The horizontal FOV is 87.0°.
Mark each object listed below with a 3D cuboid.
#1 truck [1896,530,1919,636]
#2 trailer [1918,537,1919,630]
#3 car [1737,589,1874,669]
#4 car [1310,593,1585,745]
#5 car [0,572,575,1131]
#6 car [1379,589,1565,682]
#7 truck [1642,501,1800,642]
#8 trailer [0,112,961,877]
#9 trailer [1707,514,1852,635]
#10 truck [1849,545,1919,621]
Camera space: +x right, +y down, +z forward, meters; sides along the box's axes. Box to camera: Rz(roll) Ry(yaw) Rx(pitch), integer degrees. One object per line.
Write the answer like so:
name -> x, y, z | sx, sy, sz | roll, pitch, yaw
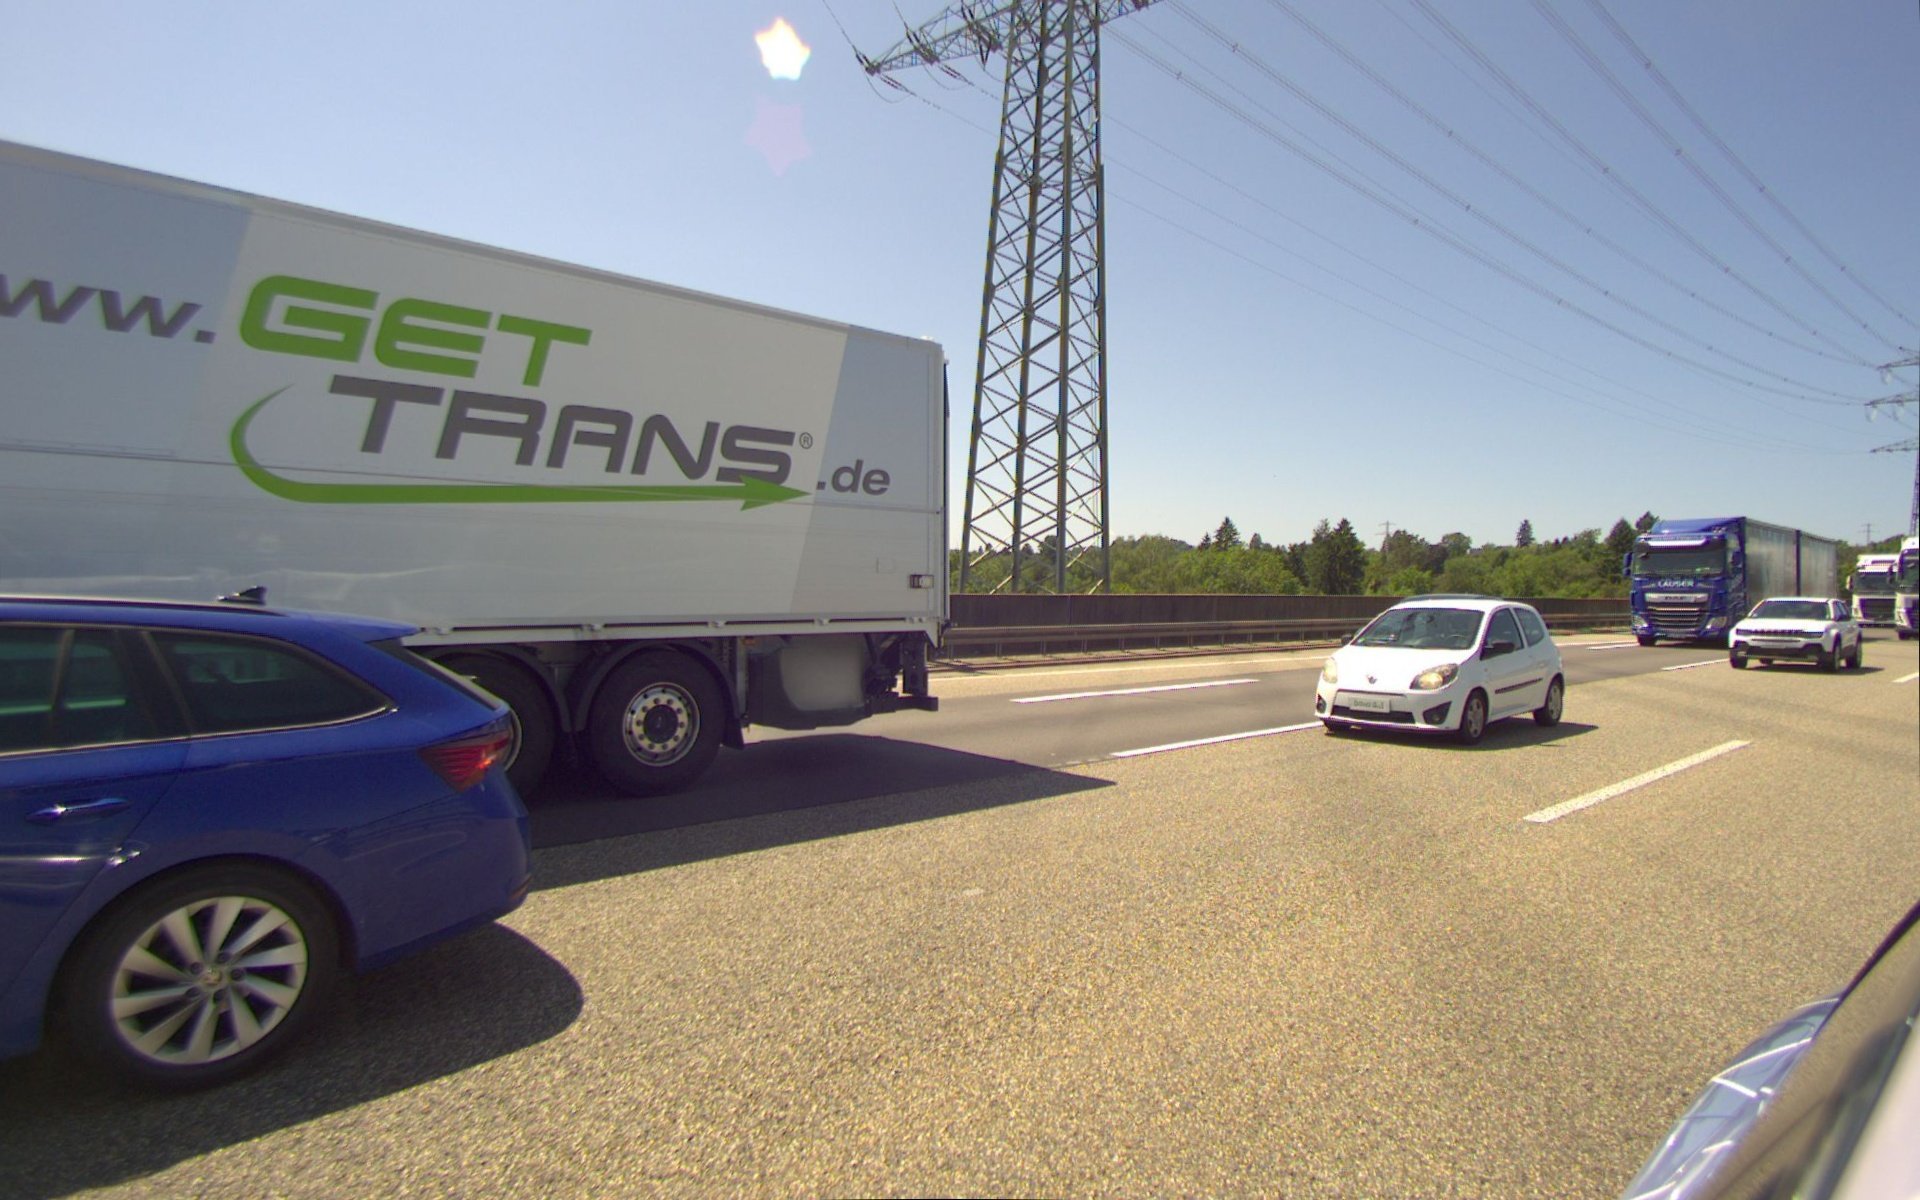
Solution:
truck -> 38.709, -0.665, 39.212 | 6.624, 3.941, 2.911 | -1, 0, -41
trailer -> 44.808, -0.763, 44.606 | 9.605, 3.918, 2.895 | -1, 0, -41
car -> 18.076, 0.553, 21.590 | 3.688, 1.554, 1.720 | 0, 0, -42
car -> 5.635, 0.655, 11.532 | 3.566, 1.458, 1.582 | 0, 0, -41
car -> -3.592, 0.652, 2.809 | 4.423, 1.458, 1.712 | 0, 0, -42
car -> 9.327, 0.564, 18.325 | 3.821, 1.524, 1.708 | 0, 0, -41
truck -> 24.395, -0.821, 32.266 | 7.789, 4.018, 2.515 | 0, 0, -41
trailer -> -3.941, -0.507, 7.311 | 8.149, 3.640, 2.848 | 0, 0, -42
trailer -> 31.287, -0.914, 38.429 | 10.698, 4.044, 2.541 | -1, 0, -42
truck -> 51.653, -0.910, 55.984 | 6.624, 3.941, 2.911 | -1, 0, -41
